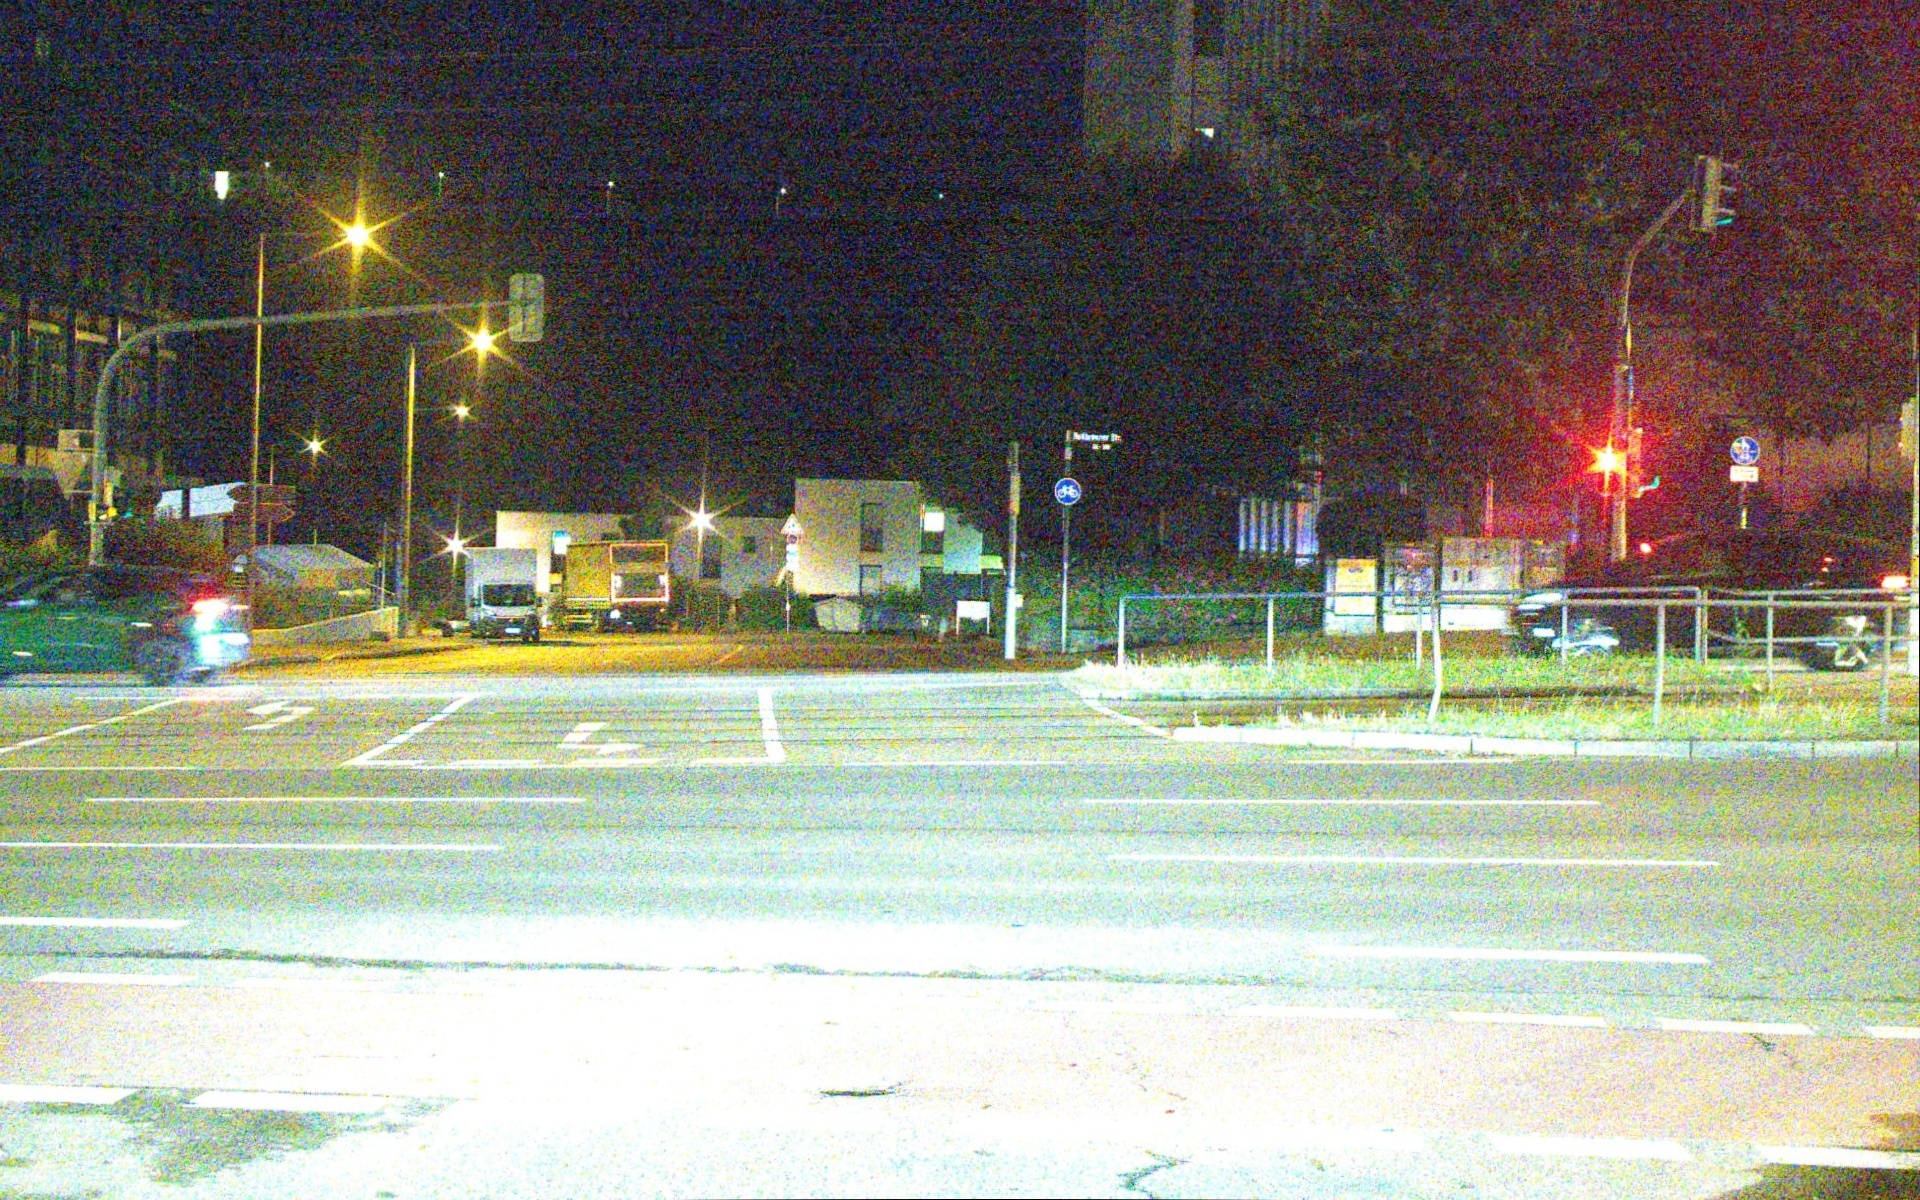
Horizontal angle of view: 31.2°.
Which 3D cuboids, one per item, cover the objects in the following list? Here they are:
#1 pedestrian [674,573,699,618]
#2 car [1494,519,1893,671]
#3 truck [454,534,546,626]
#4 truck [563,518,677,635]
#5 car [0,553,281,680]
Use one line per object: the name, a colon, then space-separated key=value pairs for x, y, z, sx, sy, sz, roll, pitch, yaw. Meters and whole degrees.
pedestrian: x=-11.751 y=-0.179 z=147.617 sx=0.849 sy=1.905 sz=1.007 roll=1 pitch=0 yaw=-18
car: x=7.806 y=-0.062 z=36.878 sx=3.988 sy=1.579 sz=1.803 roll=0 pitch=1 yaw=5
truck: x=-16.030 y=-0.679 z=119.576 sx=2.417 sy=3.078 sz=6.439 roll=1 pitch=0 yaw=-14
truck: x=-14.780 y=-0.997 z=148.848 sx=3.359 sy=4.826 sz=7.908 roll=1 pitch=0 yaw=-17
car: x=-10.377 y=0.187 z=41.154 sx=4.061 sy=1.419 sz=1.843 roll=0 pitch=3 yaw=3
